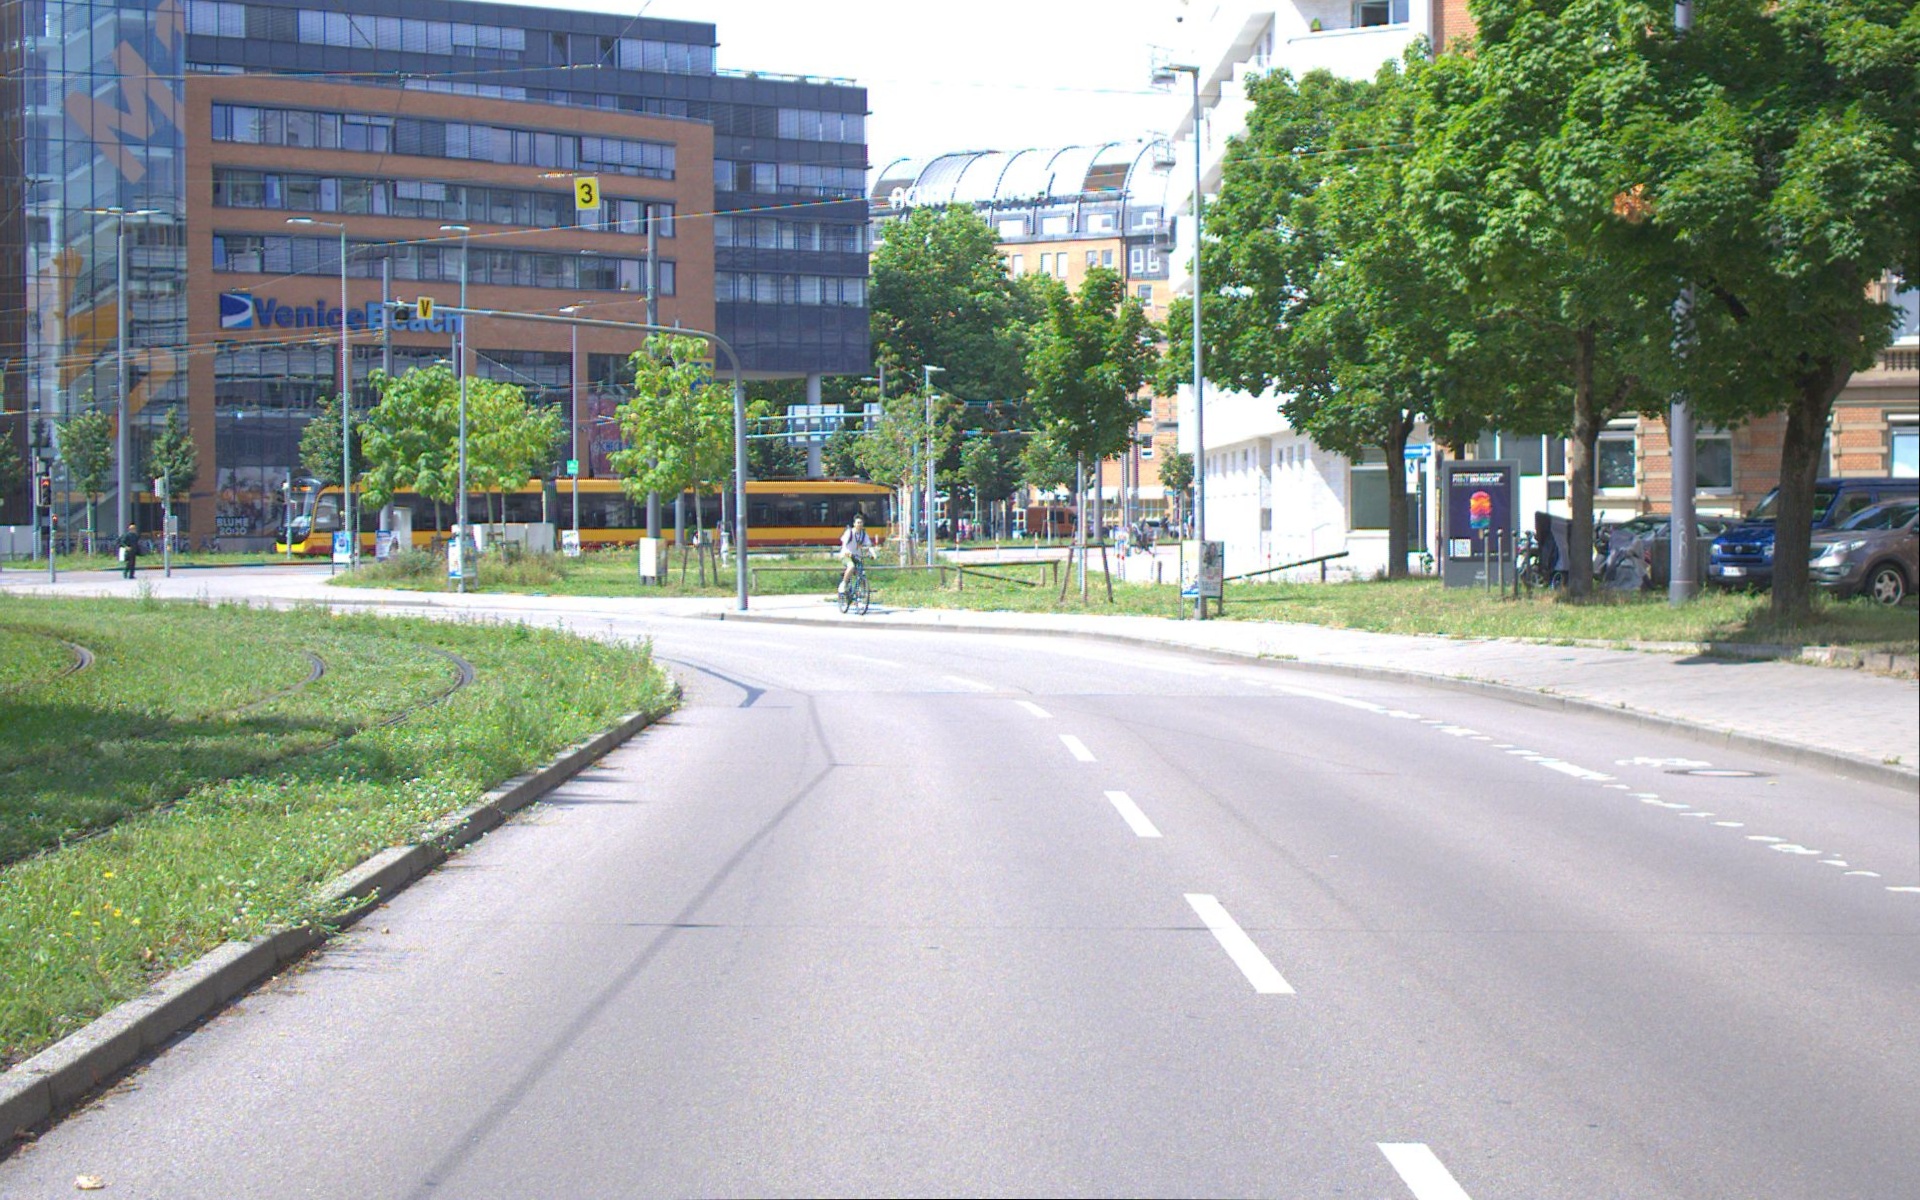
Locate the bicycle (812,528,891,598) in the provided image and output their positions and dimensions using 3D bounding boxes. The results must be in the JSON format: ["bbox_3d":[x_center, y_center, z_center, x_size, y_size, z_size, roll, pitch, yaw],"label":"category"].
[{"bbox_3d":[-1.998,-0.691,63.266,0.693,1.238,1.839,-4,3,-26],"label":"bicycle"}]

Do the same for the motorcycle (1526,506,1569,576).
[{"bbox_3d":[9.848,-0.995,57.611,0.638,1.163,1.906,0,1,11],"label":"motorcycle"}]

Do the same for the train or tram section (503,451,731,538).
[{"bbox_3d":[-15.061,-4.604,151.884,3.062,3.591,10.967,2,1,40],"label":"train or tram section"}]

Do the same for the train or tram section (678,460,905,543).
[{"bbox_3d":[-7.777,-4.576,161.077,3.062,3.608,12.608,2,1,38],"label":"train or tram section"}]

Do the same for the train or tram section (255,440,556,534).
[{"bbox_3d":[-22.832,-4.628,142.731,3.224,3.587,13.468,2,1,40],"label":"train or tram section"}]

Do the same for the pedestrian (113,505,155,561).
[{"bbox_3d":[-25.456,-2.078,105.965,0.917,1.696,0.807,0,2,24],"label":"pedestrian"}]

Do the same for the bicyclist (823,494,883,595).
[{"bbox_3d":[-1.965,-1.027,63.162,0.694,1.818,0.956,-4,3,-27],"label":"bicyclist"}]

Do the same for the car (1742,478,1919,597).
[{"bbox_3d":[13.551,-0.881,49.566,4.160,1.650,1.917,1,1,-27],"label":"car"}]

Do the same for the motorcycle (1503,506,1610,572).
[{"bbox_3d":[10.602,-1.081,61.106,1.783,1.163,0.640,0,1,-2],"label":"motorcycle"}]

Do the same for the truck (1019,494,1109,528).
[{"bbox_3d":[6.524,-5.604,215.877,5.518,2.078,1.995,2,1,39],"label":"truck"}]

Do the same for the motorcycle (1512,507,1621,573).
[{"bbox_3d":[10.635,-1.056,60.285,1.783,1.163,0.640,0,1,-2],"label":"motorcycle"}]

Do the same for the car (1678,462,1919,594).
[{"bbox_3d":[13.378,-1.076,52.551,4.614,1.921,1.917,0,1,-31],"label":"car"}]
